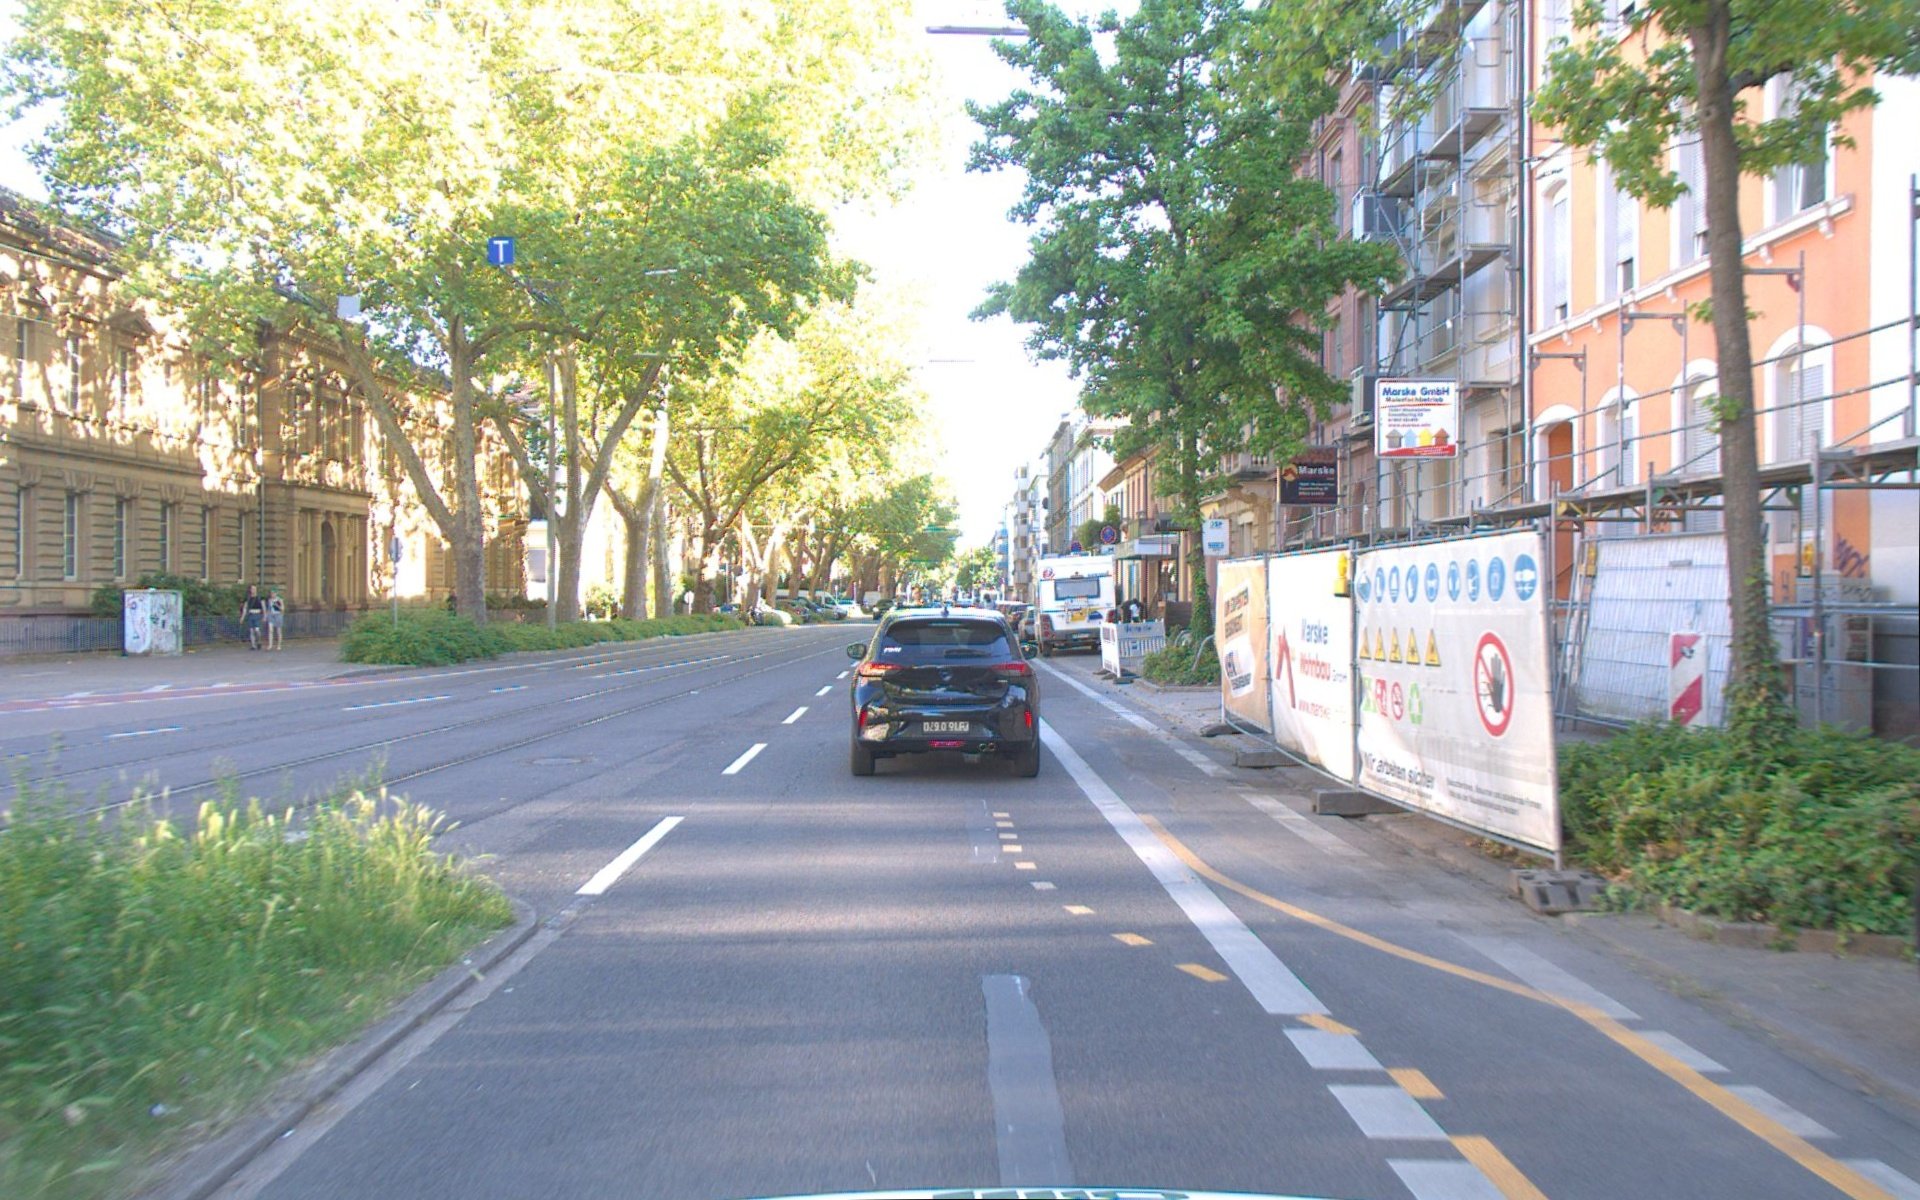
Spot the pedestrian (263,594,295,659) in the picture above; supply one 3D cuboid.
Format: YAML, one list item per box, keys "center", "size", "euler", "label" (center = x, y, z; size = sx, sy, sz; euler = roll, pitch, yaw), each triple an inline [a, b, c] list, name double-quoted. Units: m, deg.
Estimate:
- center: [-18.410, 0.706, 44.722]
  size: [0.622, 1.727, 0.655]
  euler: [1, -1, -7]
  label: "pedestrian"

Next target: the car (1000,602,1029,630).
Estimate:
- center: [3.155, 0.910, 95.918]
  size: [1.601, 1.574, 3.576]
  euler: [-1, 0, 1]
  label: "car"

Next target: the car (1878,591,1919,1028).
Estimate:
- center: [4.118, 0.716, 3.883]
  size: [1.727, 1.509, 4.110]
  euler: [-1, 0, 2]
  label: "car"

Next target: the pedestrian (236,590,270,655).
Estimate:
- center: [-19.067, 0.602, 44.588]
  size: [0.658, 1.727, 0.661]
  euler: [1, -1, -7]
  label: "pedestrian"

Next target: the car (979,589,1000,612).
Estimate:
- center: [3.085, 0.089, 173.919]
  size: [2.033, 2.258, 4.934]
  euler: [-3, 0, 1]
  label: "car"

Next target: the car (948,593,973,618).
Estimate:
- center: [0.060, 0.387, 120.668]
  size: [1.772, 1.773, 3.933]
  euler: [0, 0, 1]
  label: "car"

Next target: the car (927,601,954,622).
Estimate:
- center: [-1.345, 0.767, 111.542]
  size: [1.773, 1.362, 3.931]
  euler: [1, 0, -2]
  label: "car"

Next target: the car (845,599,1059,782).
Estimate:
- center: [-0.071, 0.755, 15.501]
  size: [1.757, 1.466, 3.531]
  euler: [1, 0, 0]
  label: "car"

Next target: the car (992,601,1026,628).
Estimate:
- center: [3.148, 0.951, 106.917]
  size: [1.843, 1.613, 3.930]
  euler: [-3, 0, -3]
  label: "car"

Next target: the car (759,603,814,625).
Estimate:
- center: [-12.763, 1.015, 121.509]
  size: [3.841, 1.446, 1.818]
  euler: [2, -1, -2]
  label: "car"

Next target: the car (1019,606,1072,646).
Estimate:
- center: [3.309, 0.992, 64.685]
  size: [1.773, 1.460, 4.664]
  euler: [-1, 0, 0]
  label: "car"

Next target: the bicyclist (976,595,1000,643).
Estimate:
- center: [1.056, 0.705, 61.712]
  size: [0.831, 1.771, 1.161]
  euler: [1, 0, -1]
  label: "bicyclist"

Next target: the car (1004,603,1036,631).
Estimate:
- center: [3.297, 0.933, 91.369]
  size: [1.617, 1.482, 3.868]
  euler: [-1, 0, 0]
  label: "car"

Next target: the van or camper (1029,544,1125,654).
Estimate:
- center: [3.513, -0.016, 51.180]
  size: [2.426, 3.024, 7.885]
  euler: [-3, 0, 1]
  label: "van or camper"

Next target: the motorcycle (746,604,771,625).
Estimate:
- center: [-11.803, 0.850, 97.081]
  size: [0.865, 1.167, 2.392]
  euler: [1, 0, 8]
  label: "motorcycle"

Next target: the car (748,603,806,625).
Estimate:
- center: [-12.943, 0.983, 116.964]
  size: [3.839, 1.467, 1.749]
  euler: [2, -1, 0]
  label: "car"

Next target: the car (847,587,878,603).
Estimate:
- center: [-12.220, -0.610, 207.454]
  size: [3.842, 1.821, 1.676]
  euler: [2, -1, -3]
  label: "car"

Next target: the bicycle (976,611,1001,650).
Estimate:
- center: [1.067, 1.133, 61.827]
  size: [0.843, 1.432, 2.523]
  euler: [1, 0, -1]
  label: "bicycle"

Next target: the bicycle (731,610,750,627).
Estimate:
- center: [-12.882, 1.100, 97.090]
  size: [0.529, 0.957, 2.035]
  euler: [1, 0, 8]
  label: "bicycle"

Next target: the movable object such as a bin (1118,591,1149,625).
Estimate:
- center: [7.915, 0.373, 75.550]
  size: [1.267, 1.547, 1.286]
  euler: [1, 0, 0]
  label: "movable object such as a bin"

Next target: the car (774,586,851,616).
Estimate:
- center: [-12.988, 0.093, 146.043]
  size: [6.492, 2.451, 2.458]
  euler: [2, -1, 0]
  label: "car"

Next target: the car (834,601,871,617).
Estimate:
- center: [-11.527, 0.966, 177.069]
  size: [3.842, 1.524, 1.676]
  euler: [2, -1, -3]
  label: "car"

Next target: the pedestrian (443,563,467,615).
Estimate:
- center: [-18.483, -0.408, 60.541]
  size: [0.705, 1.882, 0.836]
  euler: [1, -1, -7]
  label: "pedestrian"

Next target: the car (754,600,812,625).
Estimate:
- center: [-12.755, 0.930, 119.106]
  size: [3.913, 1.655, 1.879]
  euler: [2, -1, 0]
  label: "car"

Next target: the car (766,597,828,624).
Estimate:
- center: [-12.883, 0.855, 130.922]
  size: [4.579, 1.957, 1.980]
  euler: [2, -1, 1]
  label: "car"

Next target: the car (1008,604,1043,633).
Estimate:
- center: [3.308, 0.932, 83.940]
  size: [1.659, 1.417, 4.495]
  euler: [-1, 0, 1]
  label: "car"

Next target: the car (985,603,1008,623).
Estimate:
- center: [3.029, 1.062, 136.315]
  size: [1.669, 1.481, 3.698]
  euler: [-3, 0, 3]
  label: "car"

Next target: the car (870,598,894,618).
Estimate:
- center: [-6.468, 0.654, 137.643]
  size: [1.828, 1.658, 4.560]
  euler: [0, 1, 0]
  label: "car"
